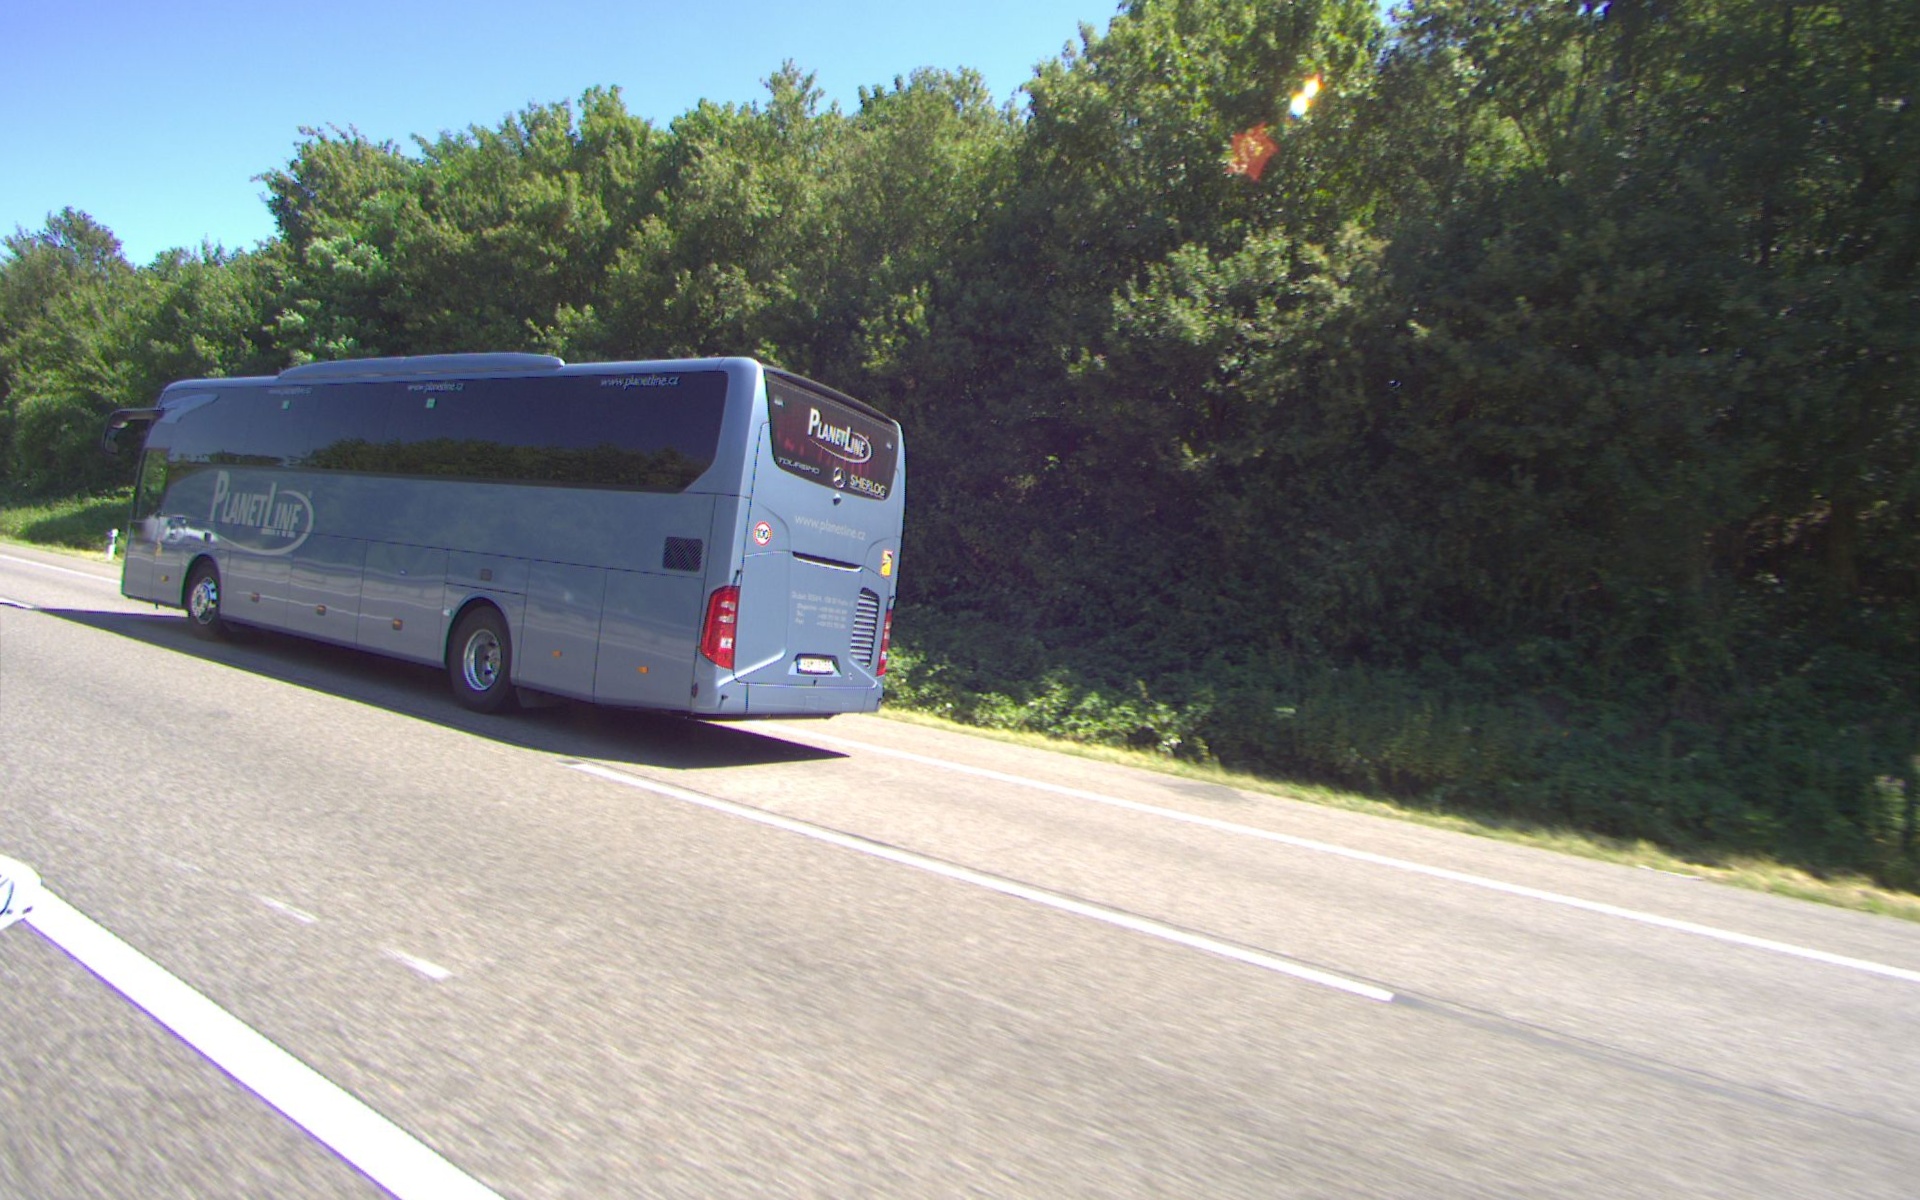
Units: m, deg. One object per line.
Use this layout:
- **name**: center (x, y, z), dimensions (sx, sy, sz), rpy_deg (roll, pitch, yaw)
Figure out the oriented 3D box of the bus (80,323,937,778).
- **bus**: center (-6.379, -0.886, 12.356), dimensions (12.265, 3.640, 2.807), rpy_deg (7, 0, 31)
